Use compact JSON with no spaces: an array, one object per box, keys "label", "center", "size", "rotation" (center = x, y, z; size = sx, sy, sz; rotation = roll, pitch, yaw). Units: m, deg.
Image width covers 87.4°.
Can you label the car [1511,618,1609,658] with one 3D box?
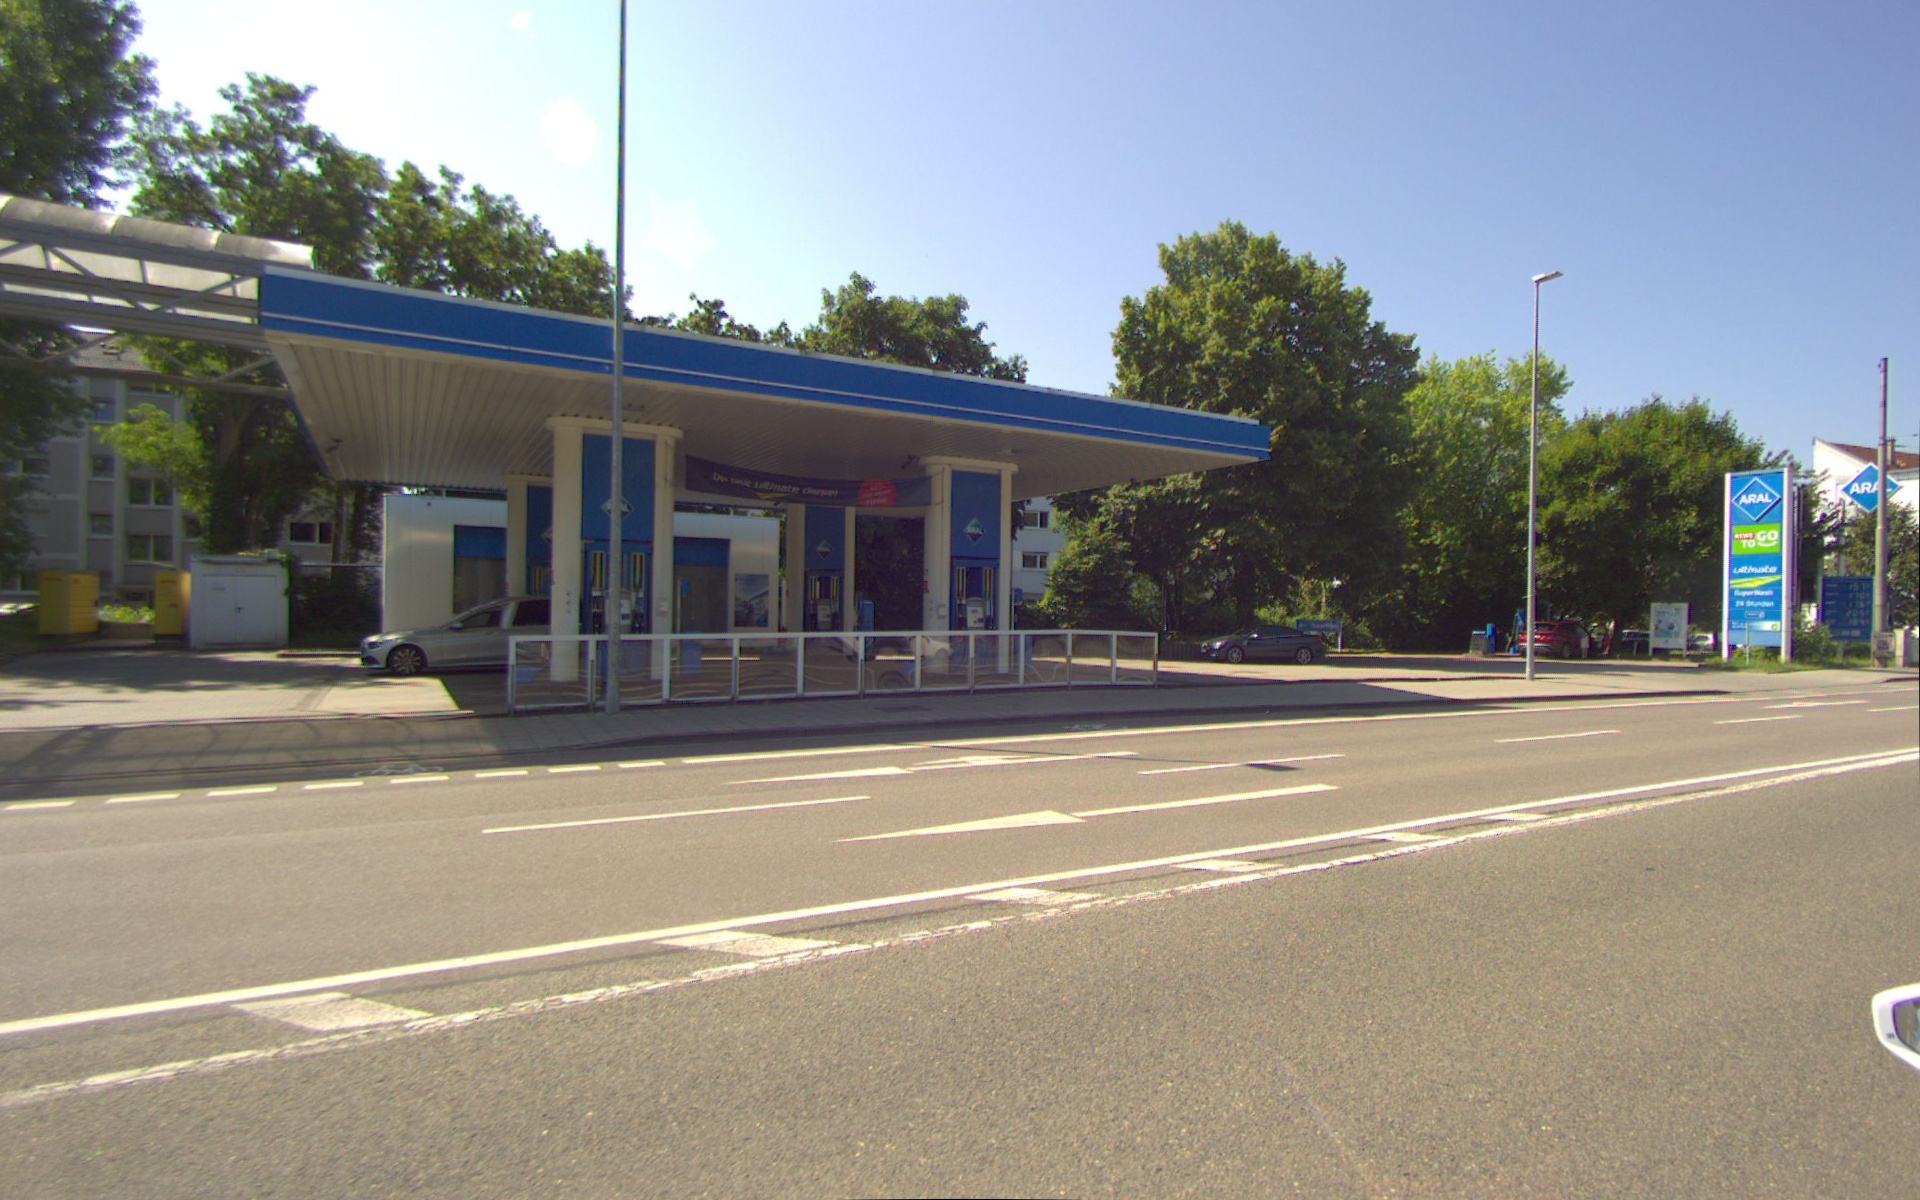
[{"label":"car","center":[26.253,1.642,43.929],"size":[4.465,1.591,1.791],"rotation":[0,0,-31]}]

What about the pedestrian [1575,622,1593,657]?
[{"label":"pedestrian","center":[27.045,1.706,43.513],"size":[0.494,1.501,0.496],"rotation":[1,-1,-30]}]

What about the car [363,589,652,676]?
[{"label":"car","center":[-10.302,0.721,23.110],"size":[5.897,1.805,1.834],"rotation":[1,-1,-32]}]

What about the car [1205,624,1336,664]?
[{"label":"car","center":[11.208,1.580,36.398],"size":[4.164,1.363,1.803],"rotation":[1,-1,-7]}]

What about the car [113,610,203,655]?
[{"label":"car","center":[-27.510,1.083,34.565],"size":[1.724,1.355,3.660],"rotation":[-1,1,-28]}]
